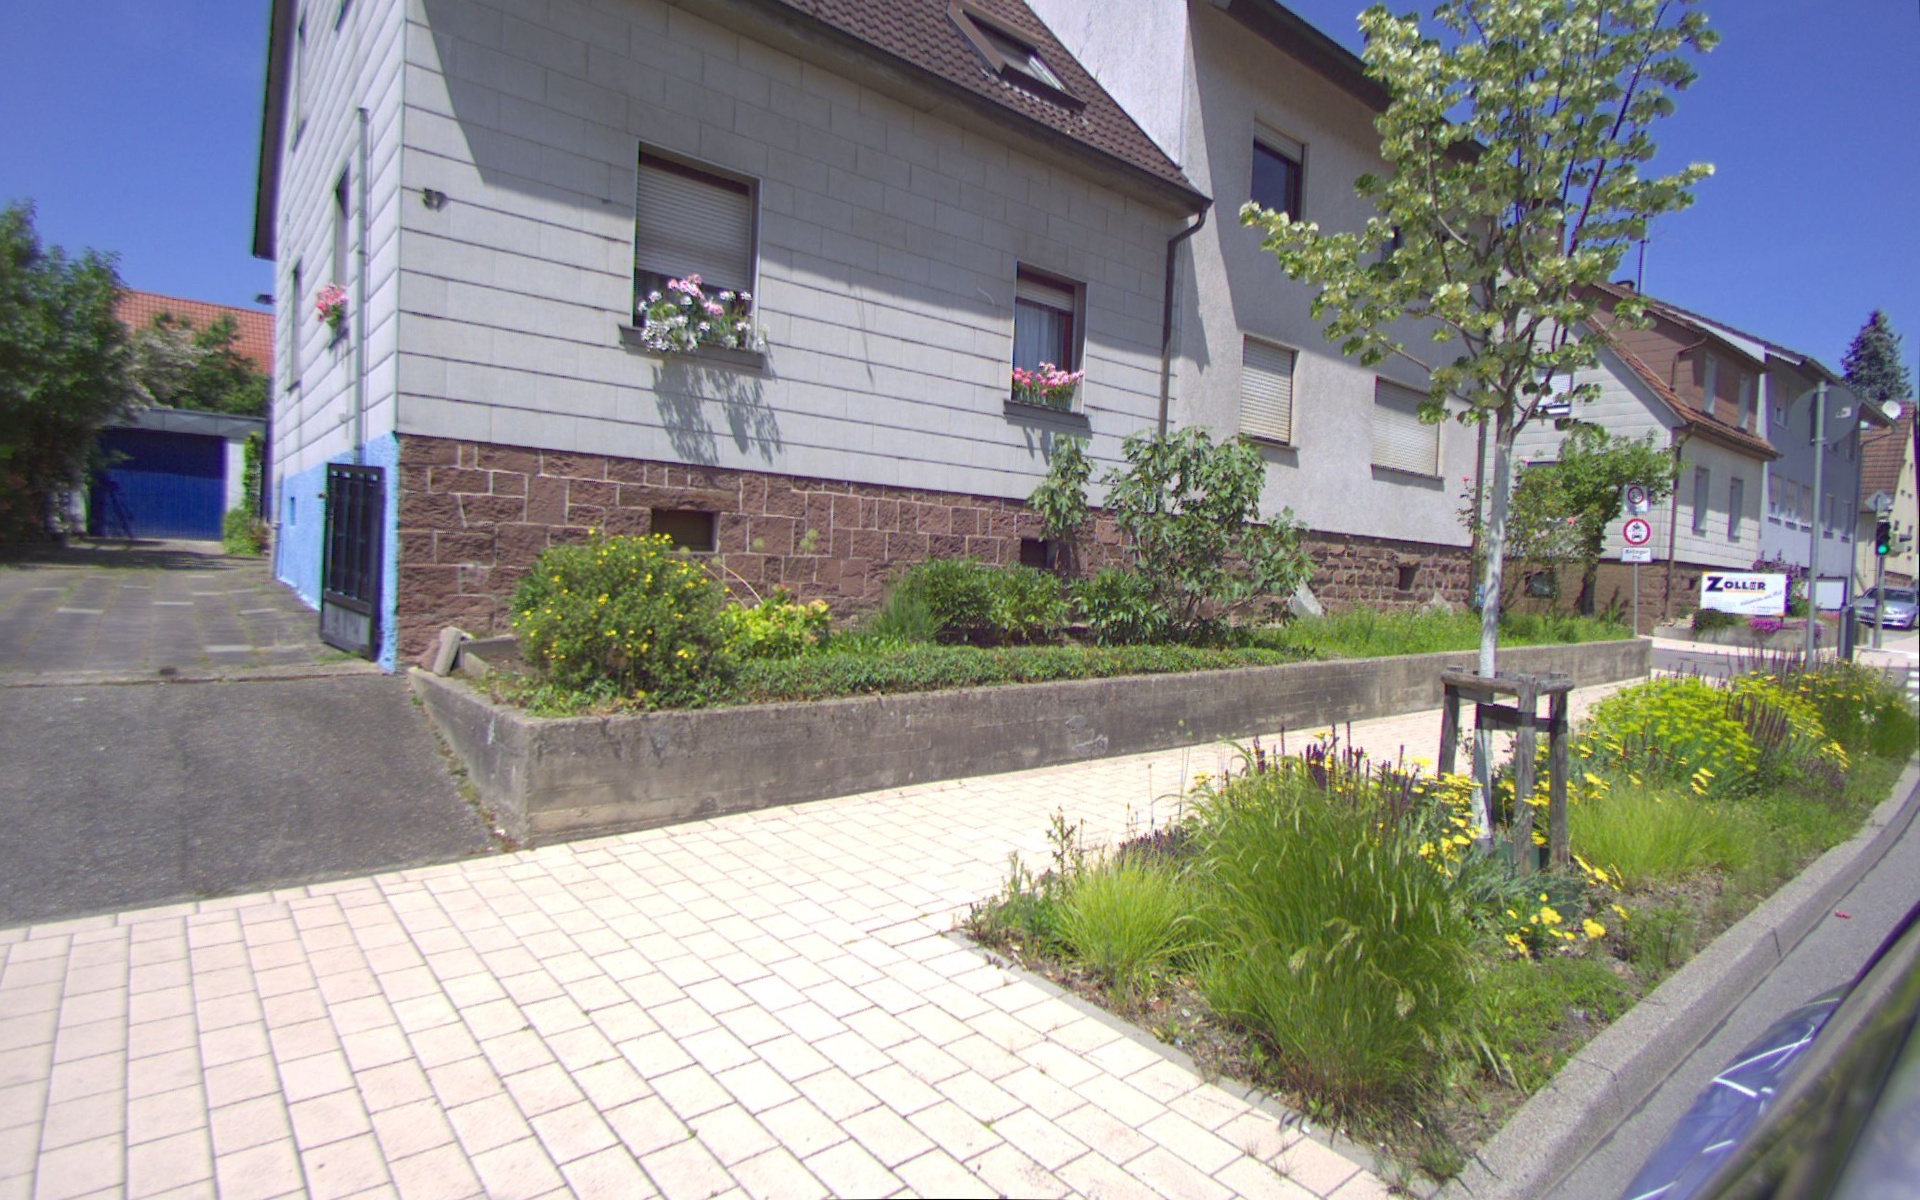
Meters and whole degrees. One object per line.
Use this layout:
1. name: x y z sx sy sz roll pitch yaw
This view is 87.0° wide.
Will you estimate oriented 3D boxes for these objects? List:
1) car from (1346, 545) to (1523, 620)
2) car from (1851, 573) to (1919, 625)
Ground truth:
1. car: 11.840 -0.495 25.412 1.766 1.509 3.527 -1 6 -37
2. car: 33.657 -0.088 36.163 4.426 1.640 1.869 -1 6 -39
